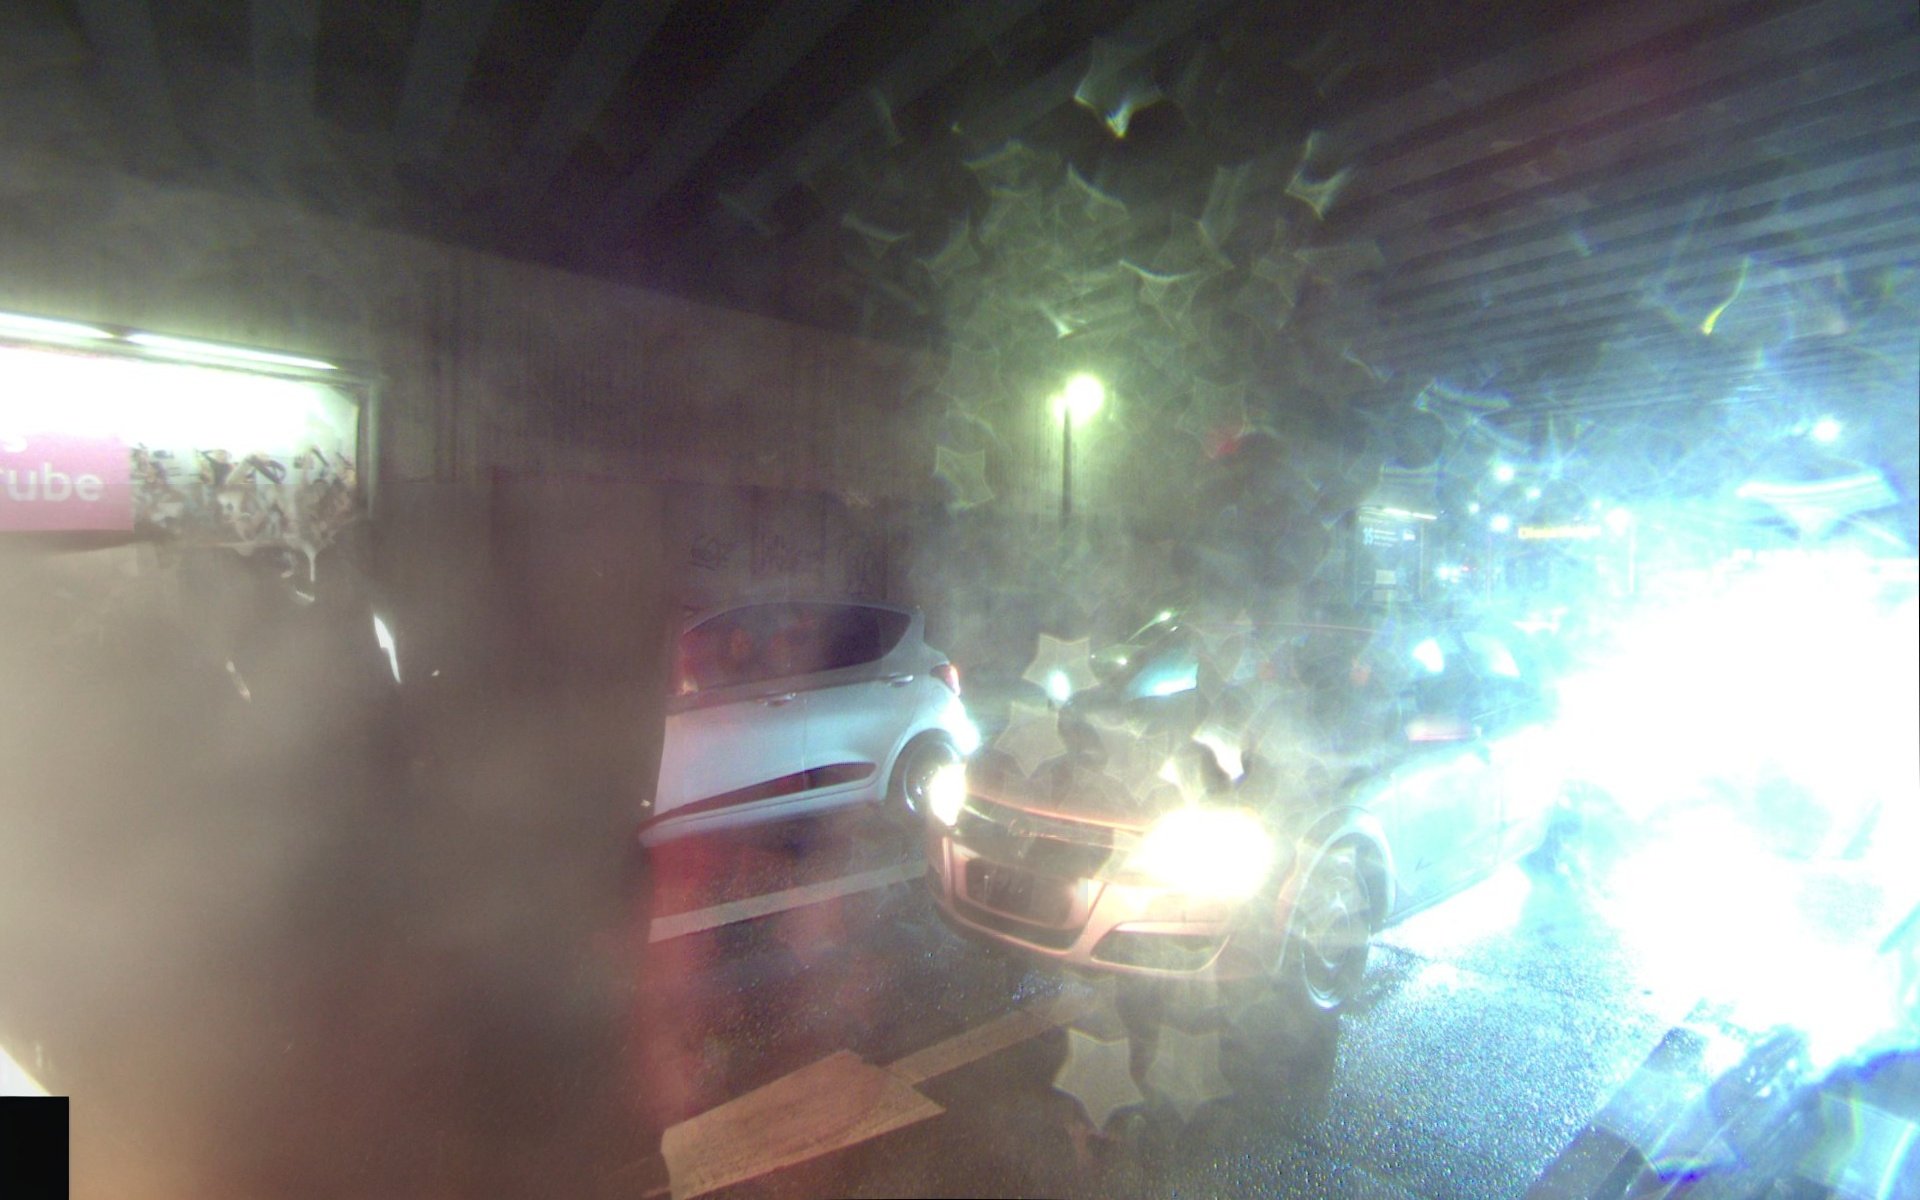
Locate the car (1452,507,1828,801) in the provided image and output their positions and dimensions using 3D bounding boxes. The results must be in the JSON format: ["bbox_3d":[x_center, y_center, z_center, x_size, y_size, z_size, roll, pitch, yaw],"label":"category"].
[{"bbox_3d":[6.506,0.362,9.488,4.274,2.115,1.996,-1,0,-43],"label":"car"}]

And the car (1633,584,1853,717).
[{"bbox_3d":[10.598,0.555,13.609,3.705,1.531,1.865,-1,1,-44],"label":"car"}]

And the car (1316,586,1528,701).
[{"bbox_3d":[6.901,0.546,14.948,1.750,1.449,3.701,2,1,43],"label":"car"}]

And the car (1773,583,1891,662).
[{"bbox_3d":[18.537,0.401,21.461,1.626,1.522,3.935,0,0,45],"label":"car"}]

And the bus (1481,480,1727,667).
[{"bbox_3d":[14.062,-0.448,21.611,2.768,3.163,9.609,0,0,43],"label":"bus"}]

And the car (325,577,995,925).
[{"bbox_3d":[-1.628,0.621,6.101,3.531,1.477,1.636,-1,0,-41],"label":"car"}]

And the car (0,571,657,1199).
[{"bbox_3d":[-2.684,0.687,0.982,4.273,1.422,1.719,-1,0,-41],"label":"car"}]

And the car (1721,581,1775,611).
[{"bbox_3d":[41.037,-0.218,52.807,1.670,1.490,3.958,0,0,30],"label":"car"}]

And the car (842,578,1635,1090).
[{"bbox_3d":[1.575,0.623,4.832,3.931,1.384,1.791,-2,2,-41],"label":"car"}]

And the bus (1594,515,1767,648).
[{"bbox_3d":[20.606,-0.437,28.640,2.768,3.163,9.609,0,0,43],"label":"bus"}]

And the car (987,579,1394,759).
[{"bbox_3d":[2.483,0.551,10.115,4.489,1.408,1.754,1,0,-43],"label":"car"}]
